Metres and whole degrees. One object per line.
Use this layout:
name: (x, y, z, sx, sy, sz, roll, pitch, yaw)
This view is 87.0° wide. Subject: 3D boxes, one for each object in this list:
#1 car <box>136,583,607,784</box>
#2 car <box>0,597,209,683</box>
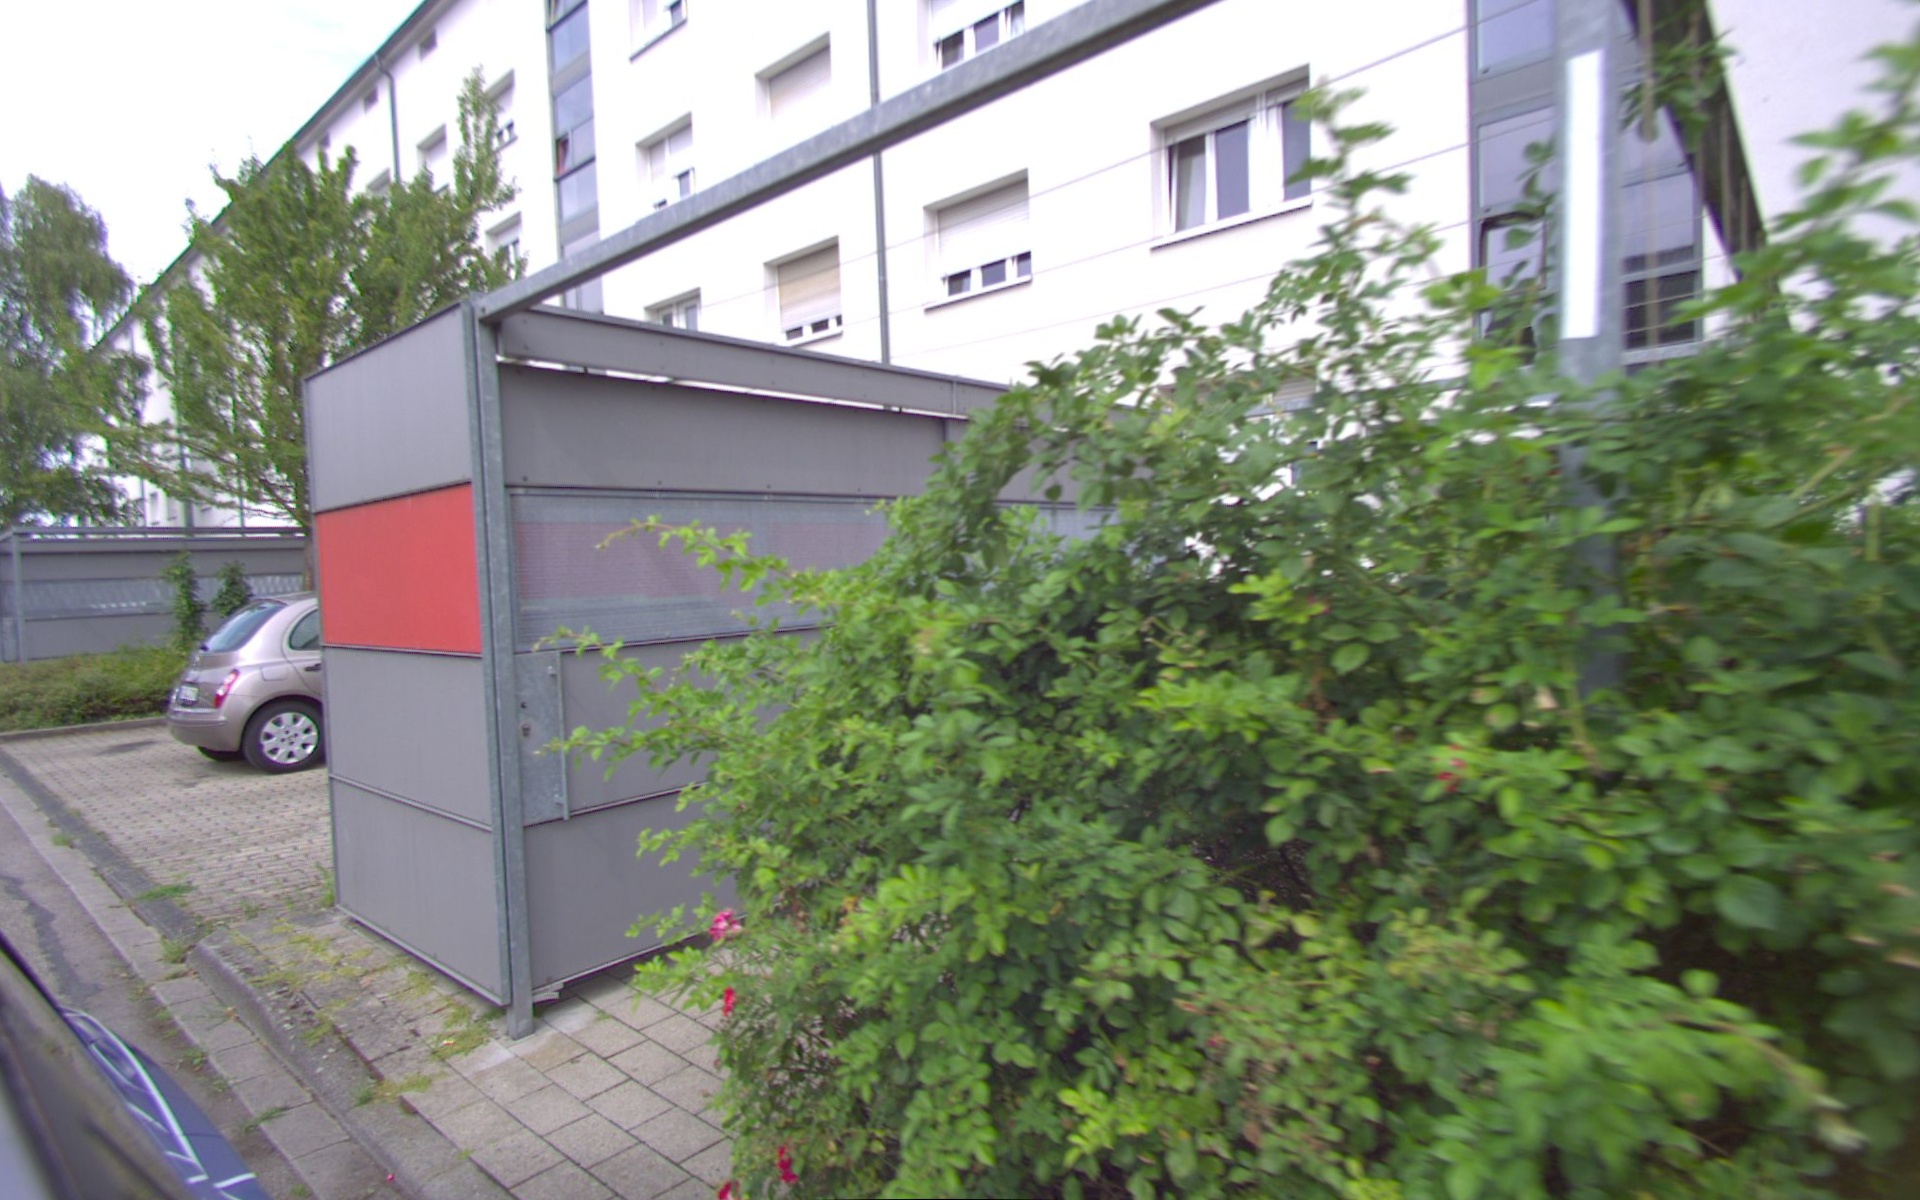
car: (-5.468, 0.633, 9.754, 1.708, 1.492, 3.529, -1, 1, 37)
car: (-18.088, 0.779, 21.142, 3.594, 1.472, 1.654, -5, 3, -45)
